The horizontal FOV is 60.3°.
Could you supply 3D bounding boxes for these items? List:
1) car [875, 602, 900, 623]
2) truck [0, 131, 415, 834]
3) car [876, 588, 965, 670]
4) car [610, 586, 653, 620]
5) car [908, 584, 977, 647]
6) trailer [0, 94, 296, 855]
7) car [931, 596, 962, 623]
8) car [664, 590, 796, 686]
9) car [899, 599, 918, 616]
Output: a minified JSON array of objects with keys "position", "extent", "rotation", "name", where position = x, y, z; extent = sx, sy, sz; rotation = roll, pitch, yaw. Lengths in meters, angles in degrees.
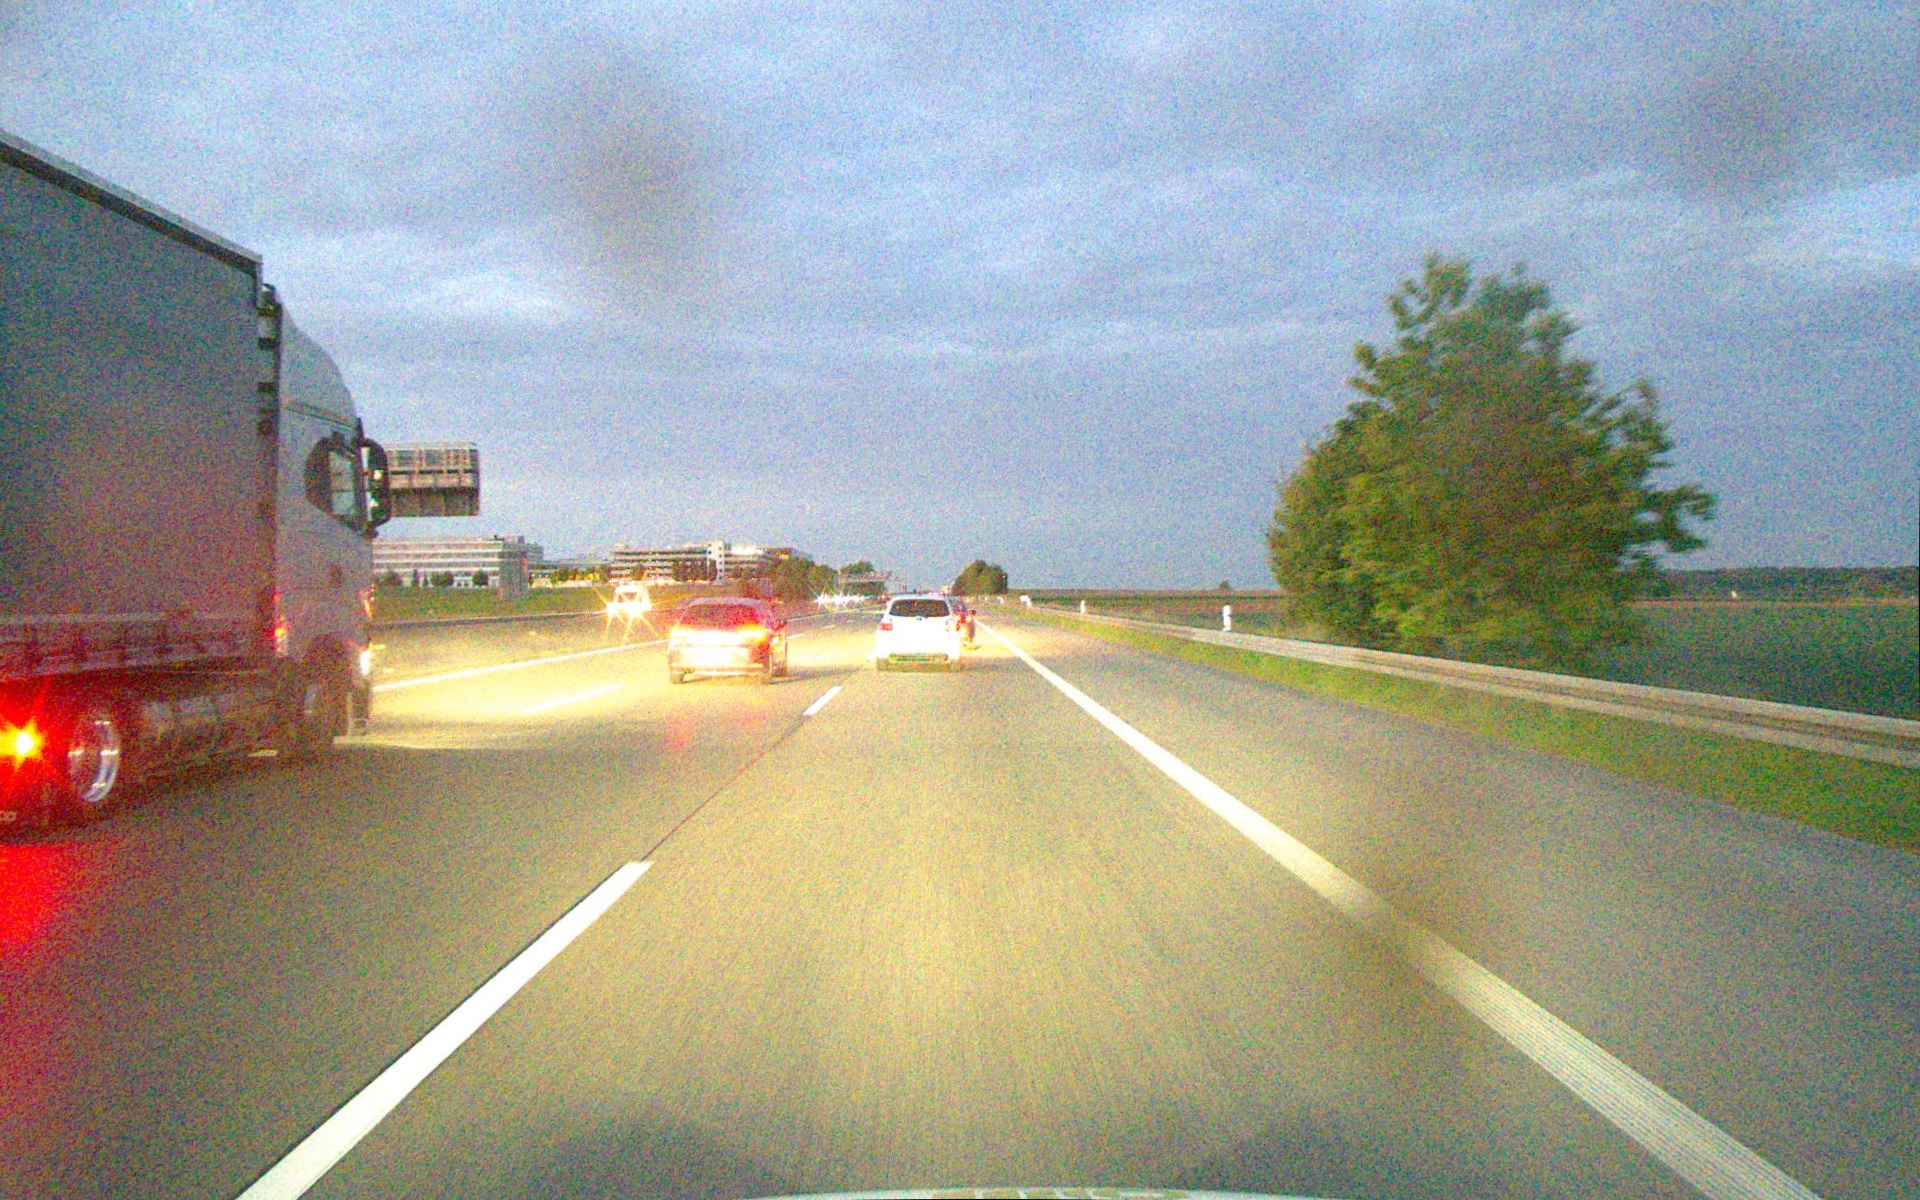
[{"position":[-5.674,0.954,129.312],"extent":[1.842,1.579,3.999],"rotation":[1,-1,-1],"name":"car"},{"position":[-6.611,-0.676,12.826],"extent":[2.721,4.164,6.102],"rotation":[0,-1,0],"name":"truck"},{"position":[-0.782,0.583,34.399],"extent":[1.708,1.551,4.413],"rotation":[1,-1,0],"name":"car"},{"position":[-23.832,0.232,120.117],"extent":[1.953,2.429,5.835],"rotation":[1,-1,-1],"name":"car"},{"position":[-0.507,0.434,46.947],"extent":[1.842,1.672,3.999],"rotation":[1,-1,-1],"name":"car"},{"position":[-6.614,-0.710,5.747],"extent":[2.737,4.157,14.524],"rotation":[0,0,0],"name":"trailer"},{"position":[-0.834,0.582,101.590],"extent":[1.842,1.579,3.999],"rotation":[1,-1,-1],"name":"car"},{"position":[-3.912,0.624,28.817],"extent":[1.688,1.497,4.725],"rotation":[1,-1,-1],"name":"car"},{"position":[-6.178,0.893,199.418],"extent":[2.154,1.912,3.999],"rotation":[1,-1,-1],"name":"car"}]
